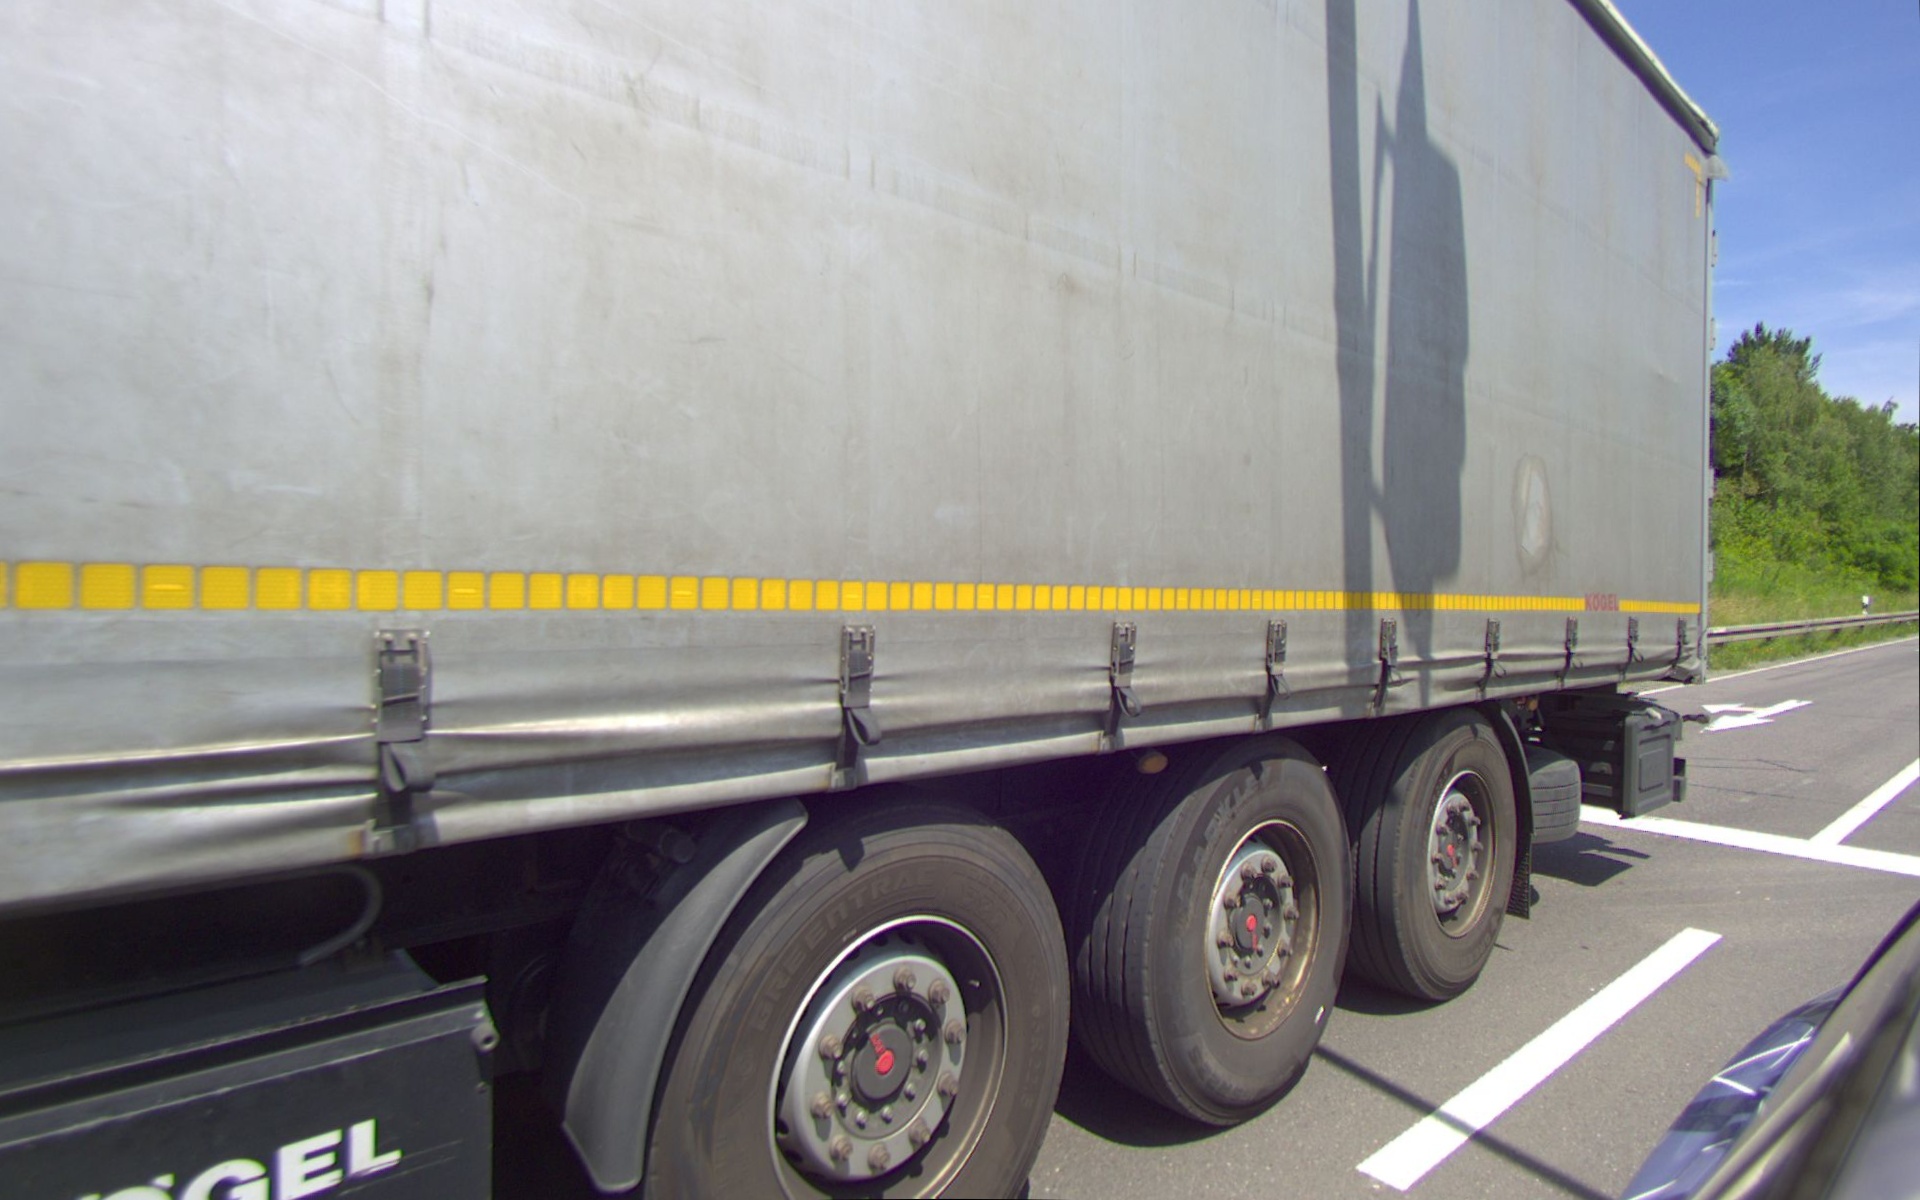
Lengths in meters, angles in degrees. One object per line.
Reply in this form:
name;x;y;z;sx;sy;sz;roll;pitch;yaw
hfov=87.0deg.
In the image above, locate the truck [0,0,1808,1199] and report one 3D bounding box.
truck;-1.648;-0.719;2.154;13.876;4.059;2.980;-1;3;-41
